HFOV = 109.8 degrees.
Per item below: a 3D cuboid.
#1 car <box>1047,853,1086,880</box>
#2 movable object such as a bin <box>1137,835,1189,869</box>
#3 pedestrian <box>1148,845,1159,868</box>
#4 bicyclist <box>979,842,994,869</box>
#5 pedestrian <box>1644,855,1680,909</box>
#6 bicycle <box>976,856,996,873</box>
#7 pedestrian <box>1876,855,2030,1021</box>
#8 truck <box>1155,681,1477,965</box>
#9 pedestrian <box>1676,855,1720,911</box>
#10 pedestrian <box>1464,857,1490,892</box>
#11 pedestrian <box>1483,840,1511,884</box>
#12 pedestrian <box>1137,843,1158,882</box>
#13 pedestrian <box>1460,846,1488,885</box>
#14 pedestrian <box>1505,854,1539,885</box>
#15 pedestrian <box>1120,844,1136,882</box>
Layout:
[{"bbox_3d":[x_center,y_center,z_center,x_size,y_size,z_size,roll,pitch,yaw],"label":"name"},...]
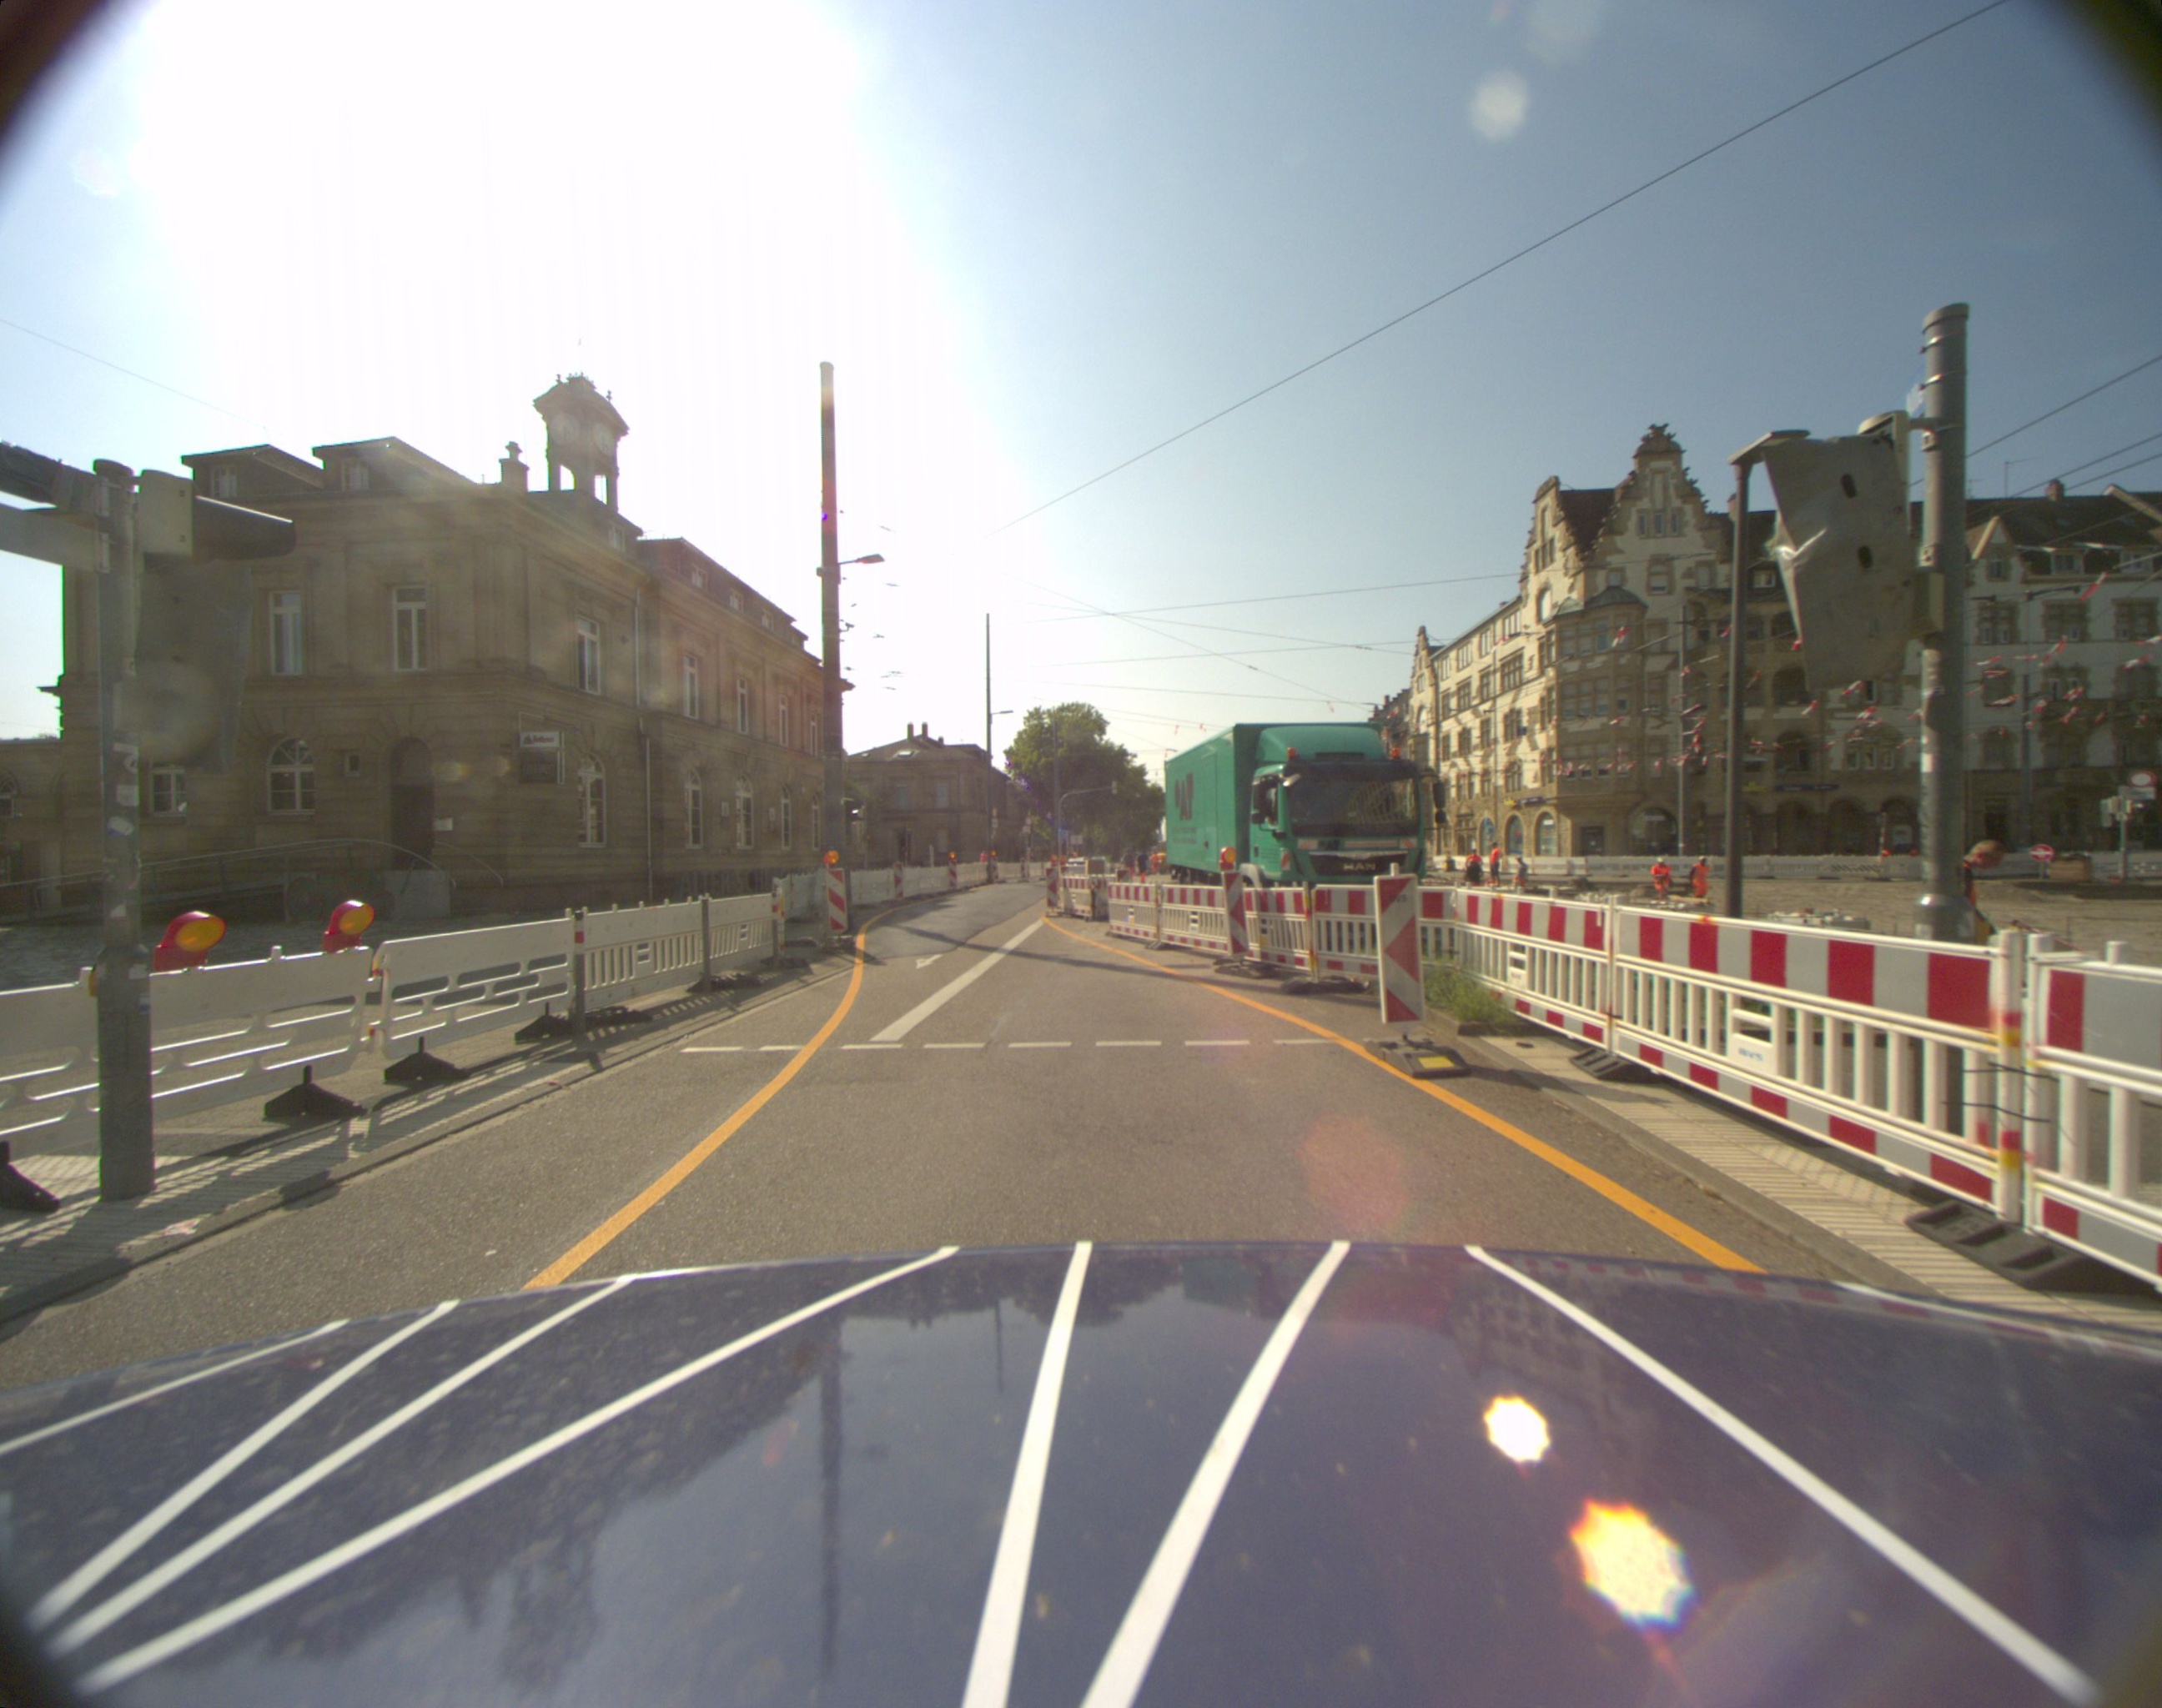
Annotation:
[{"bbox_3d":[-0.832,0.714,46.302,1.843,1.451,4.001,2,1,6],"label":"car"},{"bbox_3d":[6.300,-0.193,58.885,3.172,2.396,2.915,2,2,-11],"label":"movable object such as a bin"},{"bbox_3d":[5.527,0.203,57.839,0.701,1.729,0.913,0,1,9],"label":"pedestrian"},{"bbox_3d":[-5.795,0.087,46.661,0.736,1.616,0.853,0,1,6],"label":"bicyclist"},{"bbox_3d":[18.358,0.870,24.030,0.739,1.692,0.760,0,1,24],"label":"pedestrian"},{"bbox_3d":[-5.801,0.638,46.647,0.743,1.026,2.133,0,1,6],"label":"bicycle"},{"bbox_3d":[8.220,0.748,7.204,0.741,1.470,0.704,0,1,27],"label":"pedestrian"},{"bbox_3d":[3.616,-0.417,14.703,2.816,3.766,9.011,0,0,-4],"label":"truck"},{"bbox_3d":[19.184,0.895,23.643,0.740,1.692,0.759,0,1,4],"label":"pedestrian"},{"bbox_3d":[14.564,0.748,27.932,0.677,1.240,0.547,0,1,4],"label":"pedestrian"},{"bbox_3d":[16.264,0.318,29.748,0.752,1.692,0.678,0,1,4],"label":"pedestrian"},{"bbox_3d":[3.145,0.397,35.895,0.920,1.830,0.801,0,1,-1],"label":"pedestrian"},{"bbox_3d":[15.873,0.462,30.675,0.754,1.547,0.735,-1,1,-37],"label":"pedestrian"},{"bbox_3d":[17.462,0.611,30.111,0.731,1.177,0.866,2,2,-2],"label":"pedestrian"},{"bbox_3d":[2.249,0.427,36.368,0.720,1.765,0.465,0,1,0],"label":"pedestrian"}]
